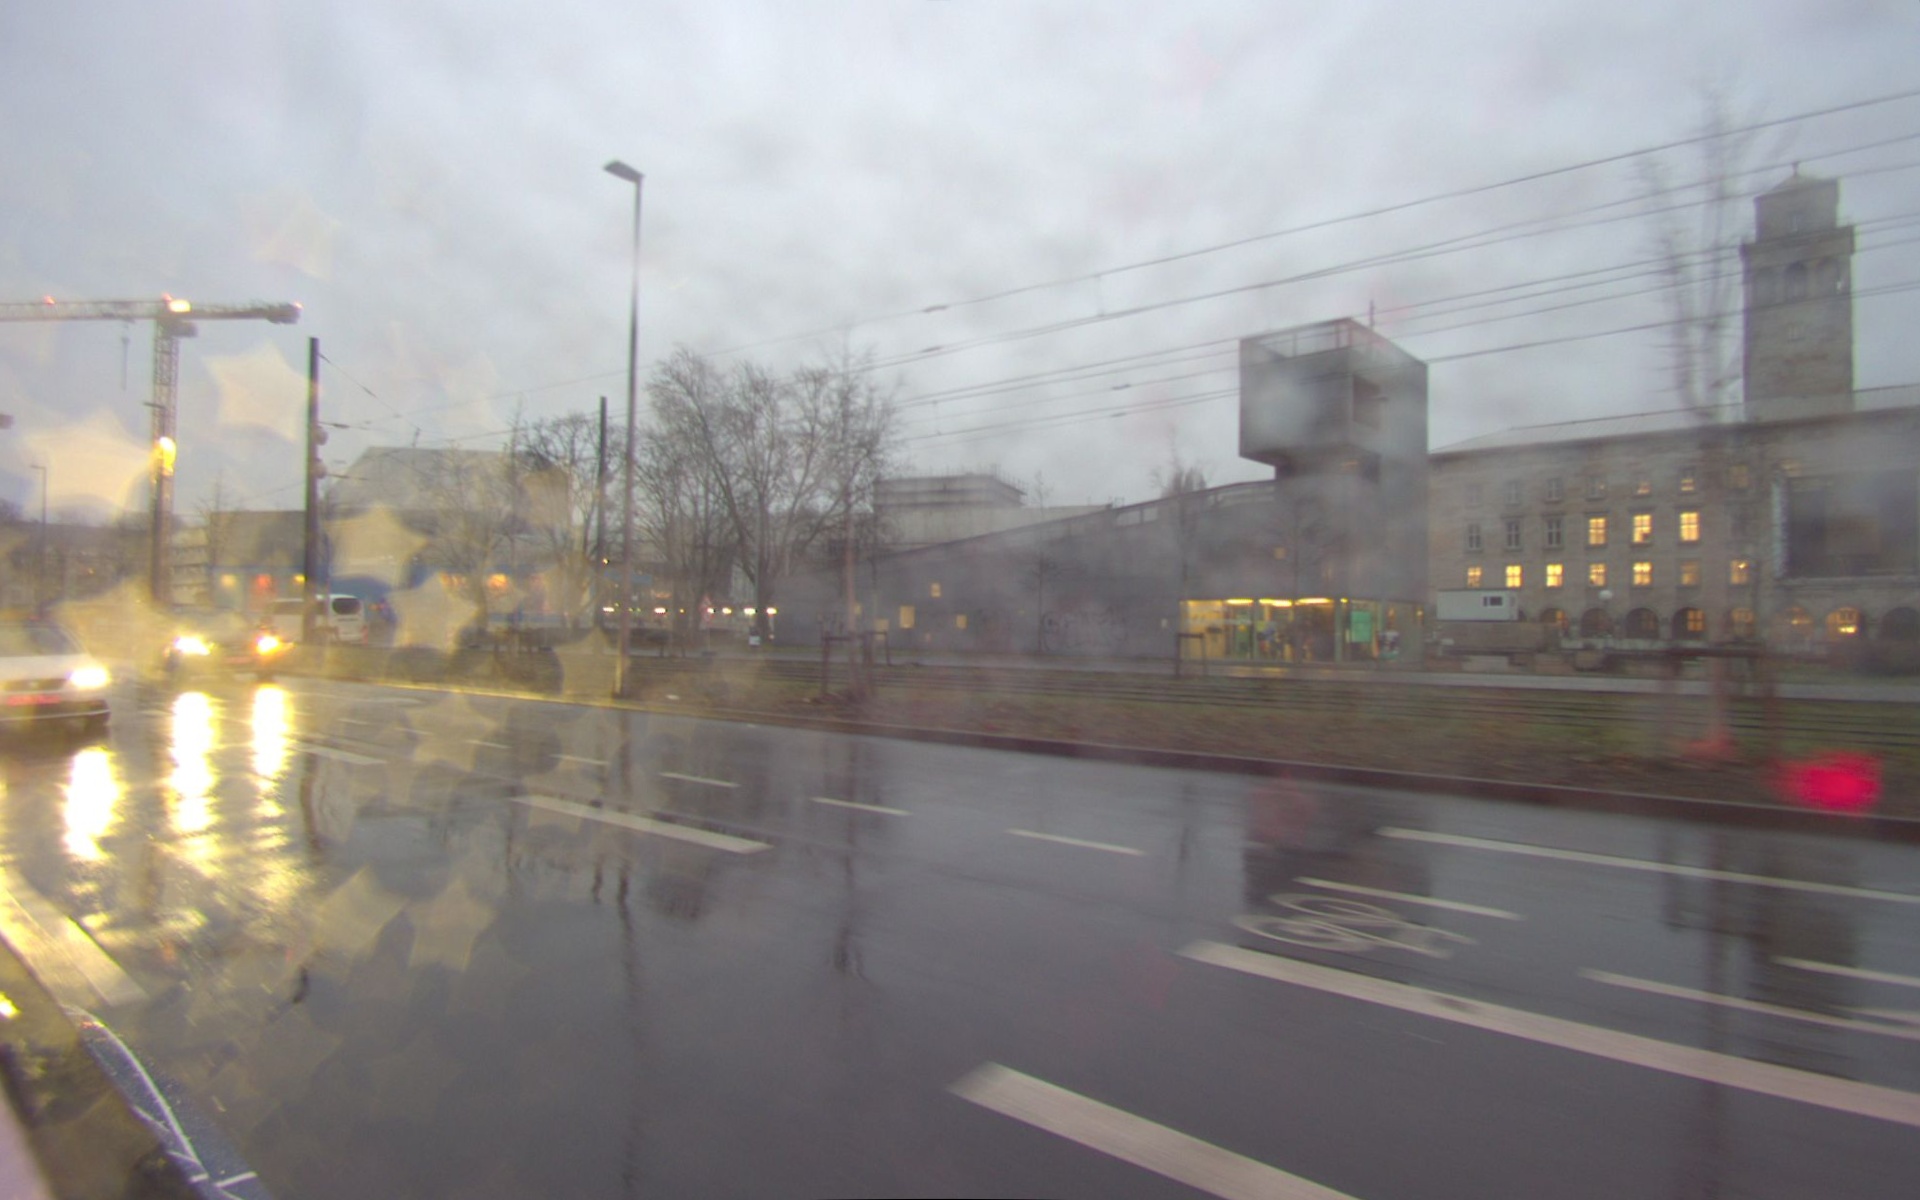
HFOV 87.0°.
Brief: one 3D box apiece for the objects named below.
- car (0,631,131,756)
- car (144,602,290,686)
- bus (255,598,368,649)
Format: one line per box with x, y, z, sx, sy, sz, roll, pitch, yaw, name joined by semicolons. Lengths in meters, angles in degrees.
-12.850;1.161;13.657;4.125;1.486;1.756;-1;-2;39;car
-17.148;0.972;23.270;4.609;1.756;1.685;-1;-2;41;car
-49.125;1.760;76.465;12.279;3.605;2.782;-1;-2;36;bus
